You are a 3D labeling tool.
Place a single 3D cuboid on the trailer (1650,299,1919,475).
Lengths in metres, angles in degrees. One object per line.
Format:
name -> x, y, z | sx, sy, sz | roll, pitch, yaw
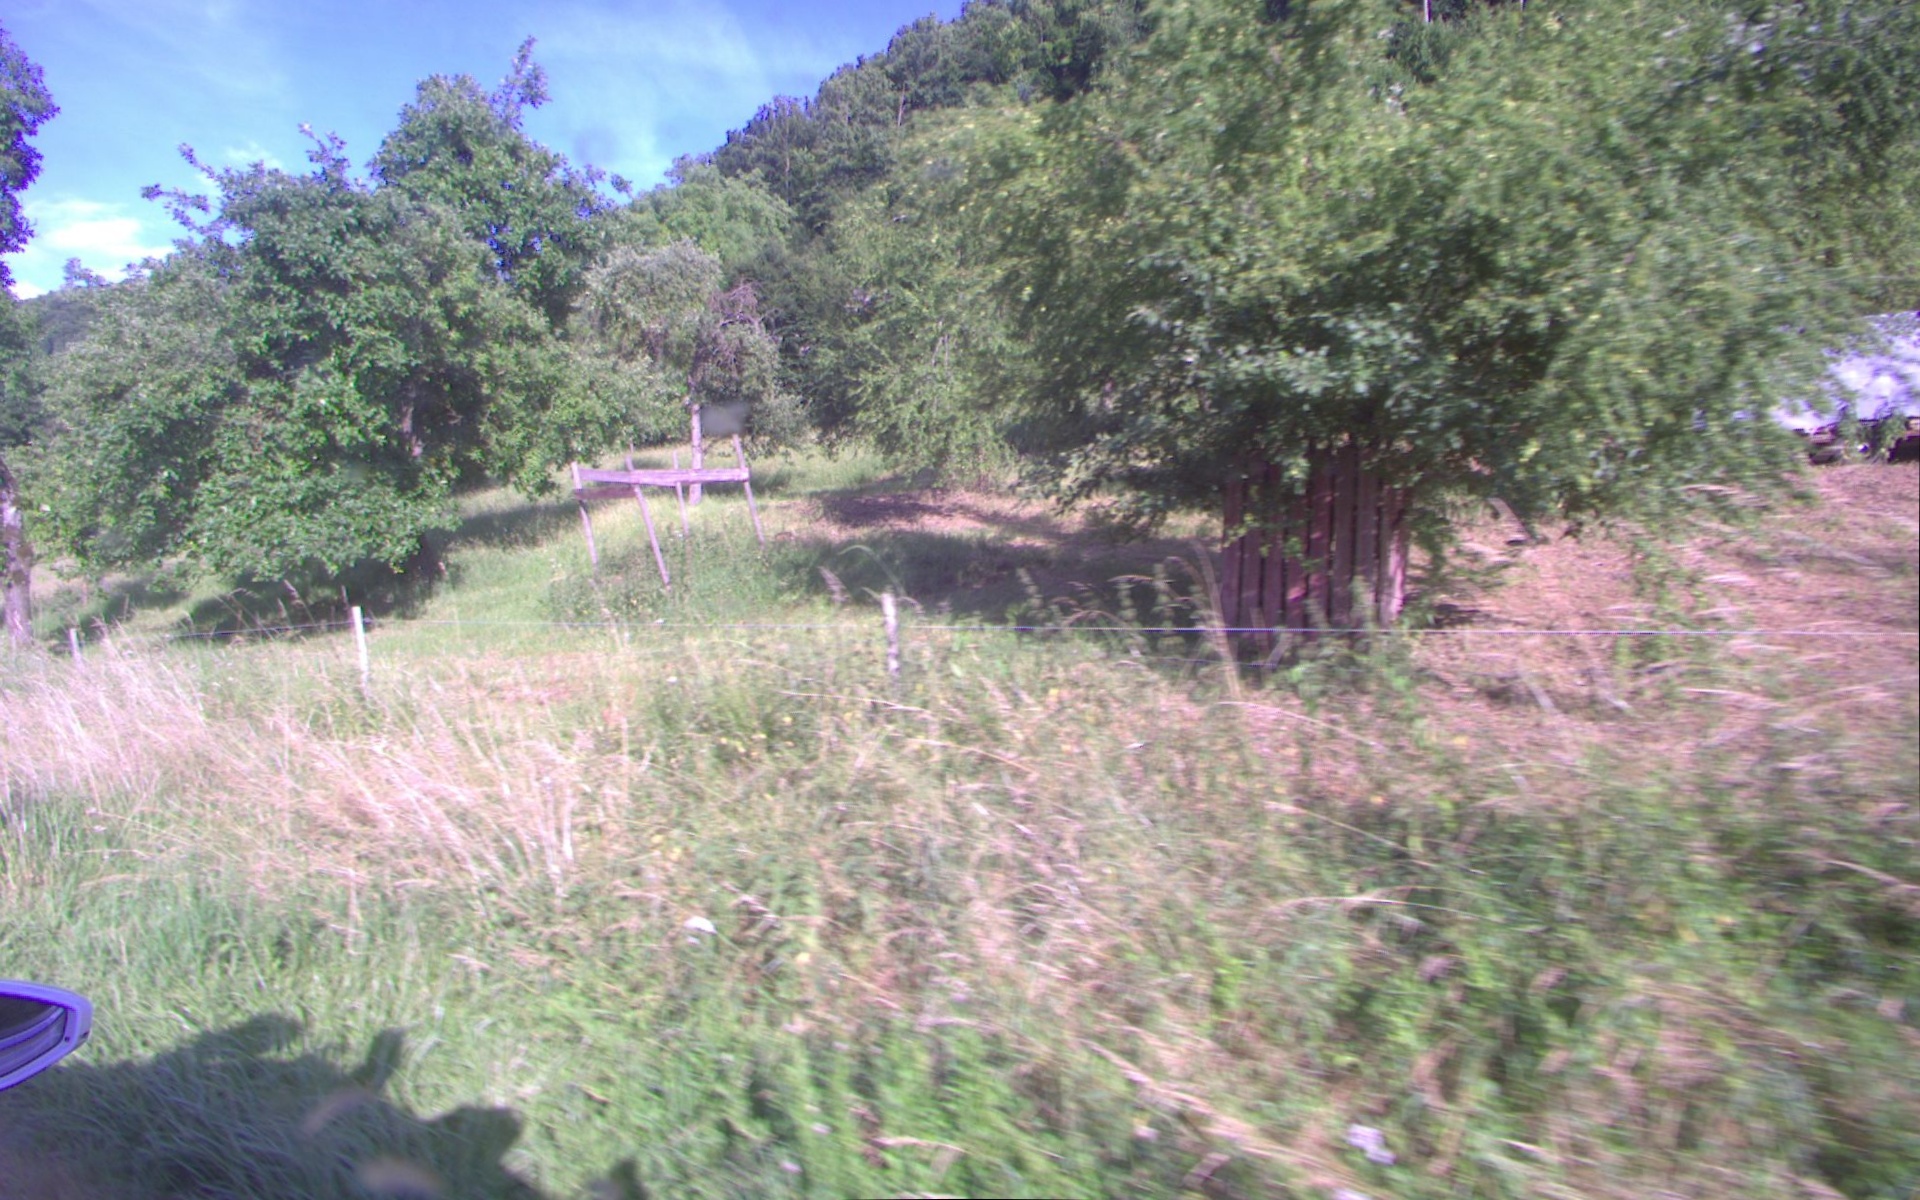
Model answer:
trailer -> 15.435, -3.634, 17.553 | 5.164, 2.594, 2.149 | 3, 4, 29
